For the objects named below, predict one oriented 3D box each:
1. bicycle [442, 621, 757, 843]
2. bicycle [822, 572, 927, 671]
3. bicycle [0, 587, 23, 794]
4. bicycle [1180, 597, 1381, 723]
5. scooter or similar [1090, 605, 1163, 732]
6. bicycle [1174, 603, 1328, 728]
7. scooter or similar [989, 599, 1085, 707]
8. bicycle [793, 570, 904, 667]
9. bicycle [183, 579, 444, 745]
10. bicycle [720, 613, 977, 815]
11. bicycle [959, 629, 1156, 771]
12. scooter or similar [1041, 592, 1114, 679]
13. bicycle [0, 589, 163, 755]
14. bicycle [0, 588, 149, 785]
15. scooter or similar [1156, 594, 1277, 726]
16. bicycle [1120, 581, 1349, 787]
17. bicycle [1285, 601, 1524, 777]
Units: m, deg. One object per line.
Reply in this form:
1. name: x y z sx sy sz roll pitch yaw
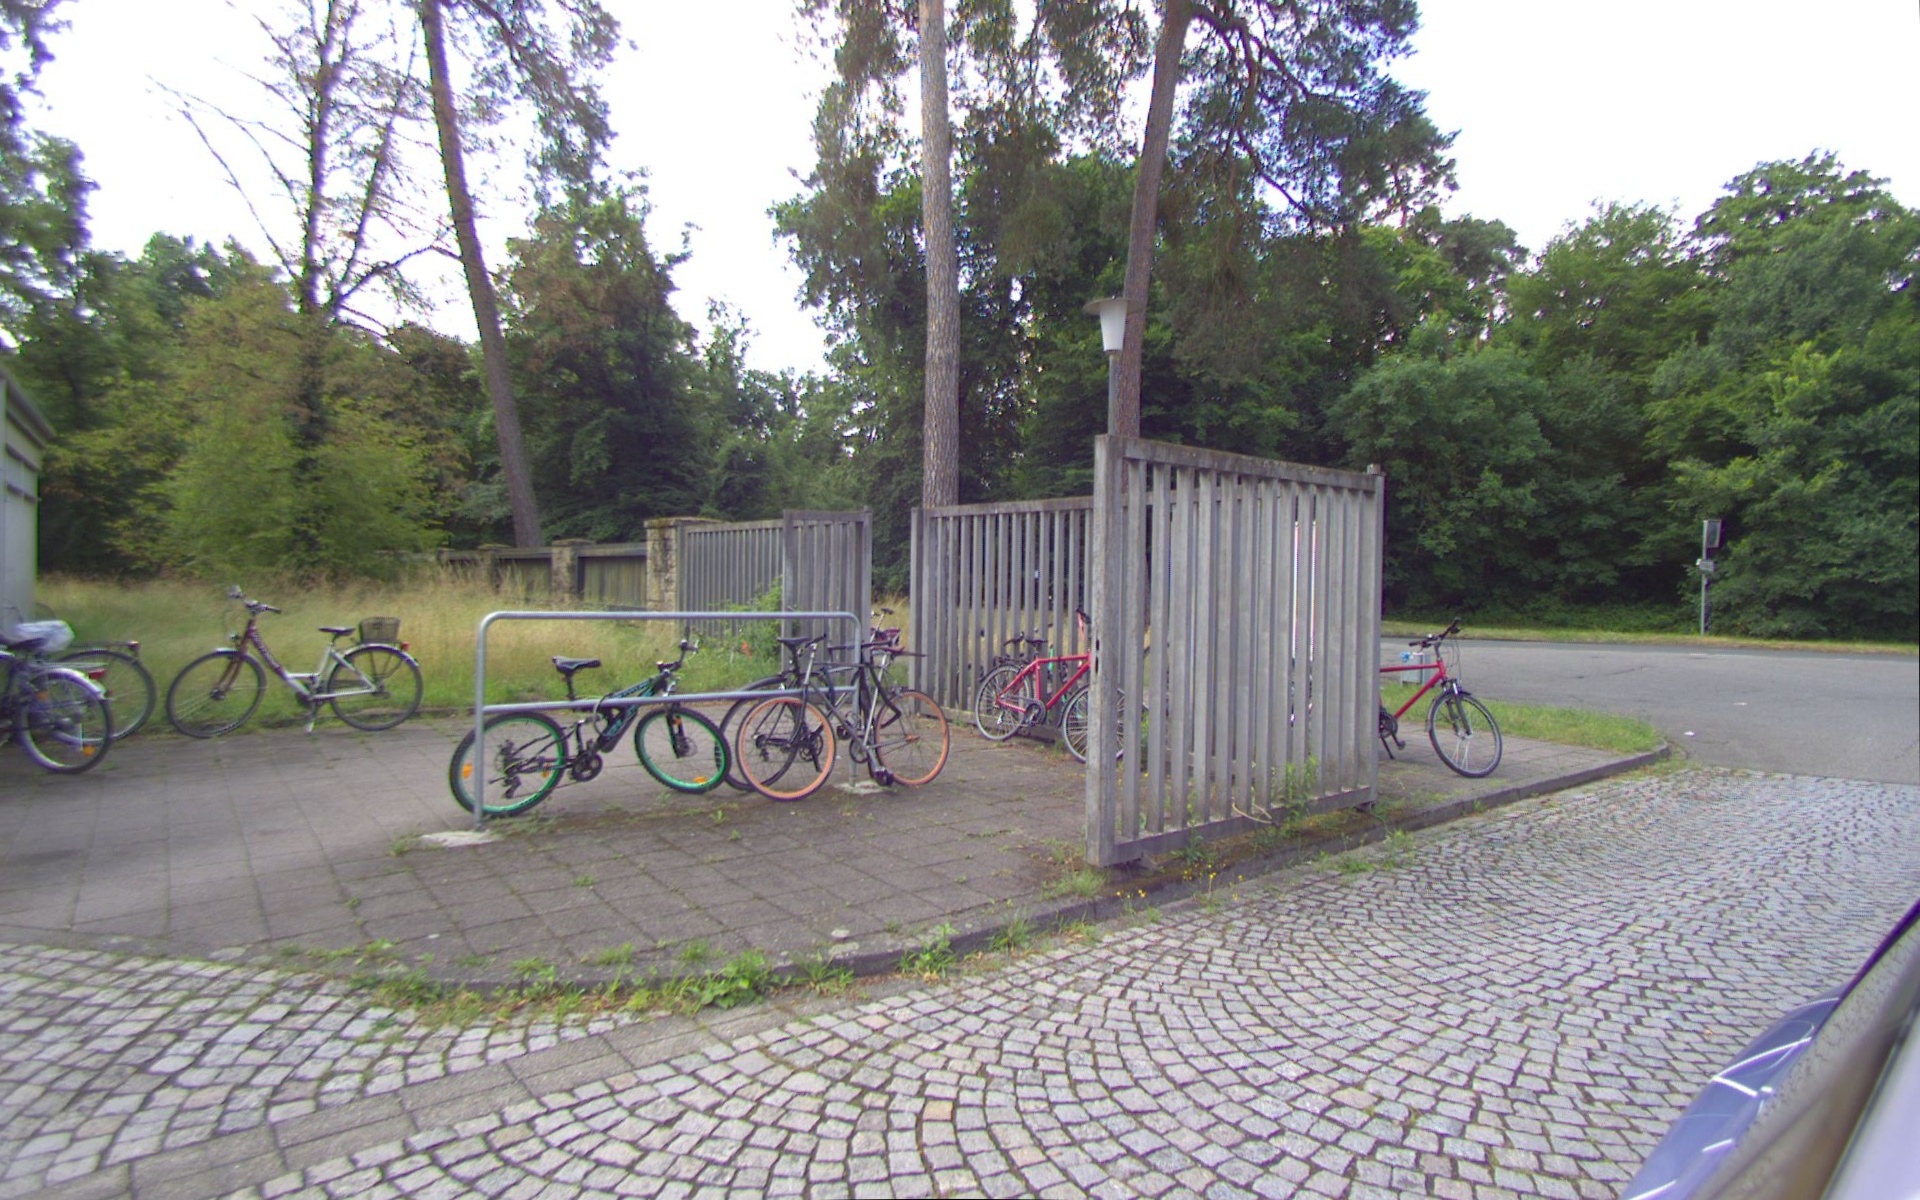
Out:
1. bicycle: -2.068 0.685 5.900 1.566 1.070 0.731 0 1 -40
2. bicycle: -1.296 0.325 15.611 0.585 1.435 1.776 1 0 35
3. bicycle: -6.314 0.497 5.876 1.628 1.185 0.435 2 3 13
4. bicycle: 3.660 0.631 11.746 0.625 1.256 2.170 0 2 -43
5. scooter or similar: 1.678 0.641 10.073 0.433 1.165 1.242 1 0 23
6. bicycle: 3.099 0.665 10.928 0.610 1.177 1.613 2 1 -28
7. scooter or similar: 1.124 0.751 14.866 0.520 1.435 1.251 12 -6 -38
8. bicycle: -1.731 0.278 16.044 0.574 1.435 1.958 1 0 35
9. bicycle: -5.062 0.447 8.048 1.689 1.185 0.437 -2 3 -27
10. bicycle: -0.702 0.700 6.782 1.685 1.185 0.502 2 0 -40
11. bicycle: 0.771 0.790 8.643 0.449 0.980 1.951 1 1 -38
12. scooter or similar: 1.821 0.533 15.745 0.431 1.243 1.088 -1 4 -44
13. bicycle: -6.519 0.485 6.989 1.568 1.097 0.435 -1 2 -42
14. bicycle: -6.090 0.508 6.429 1.624 1.132 0.436 3 3 6
15. scooter or similar: 2.652 0.586 10.572 0.378 1.261 1.285 1 1 -33
16. bicycle: 2.138 0.583 8.157 0.506 1.434 1.907 -1 2 -34
17. bicycle: 3.758 0.684 8.672 0.661 1.293 1.737 0 2 -43
